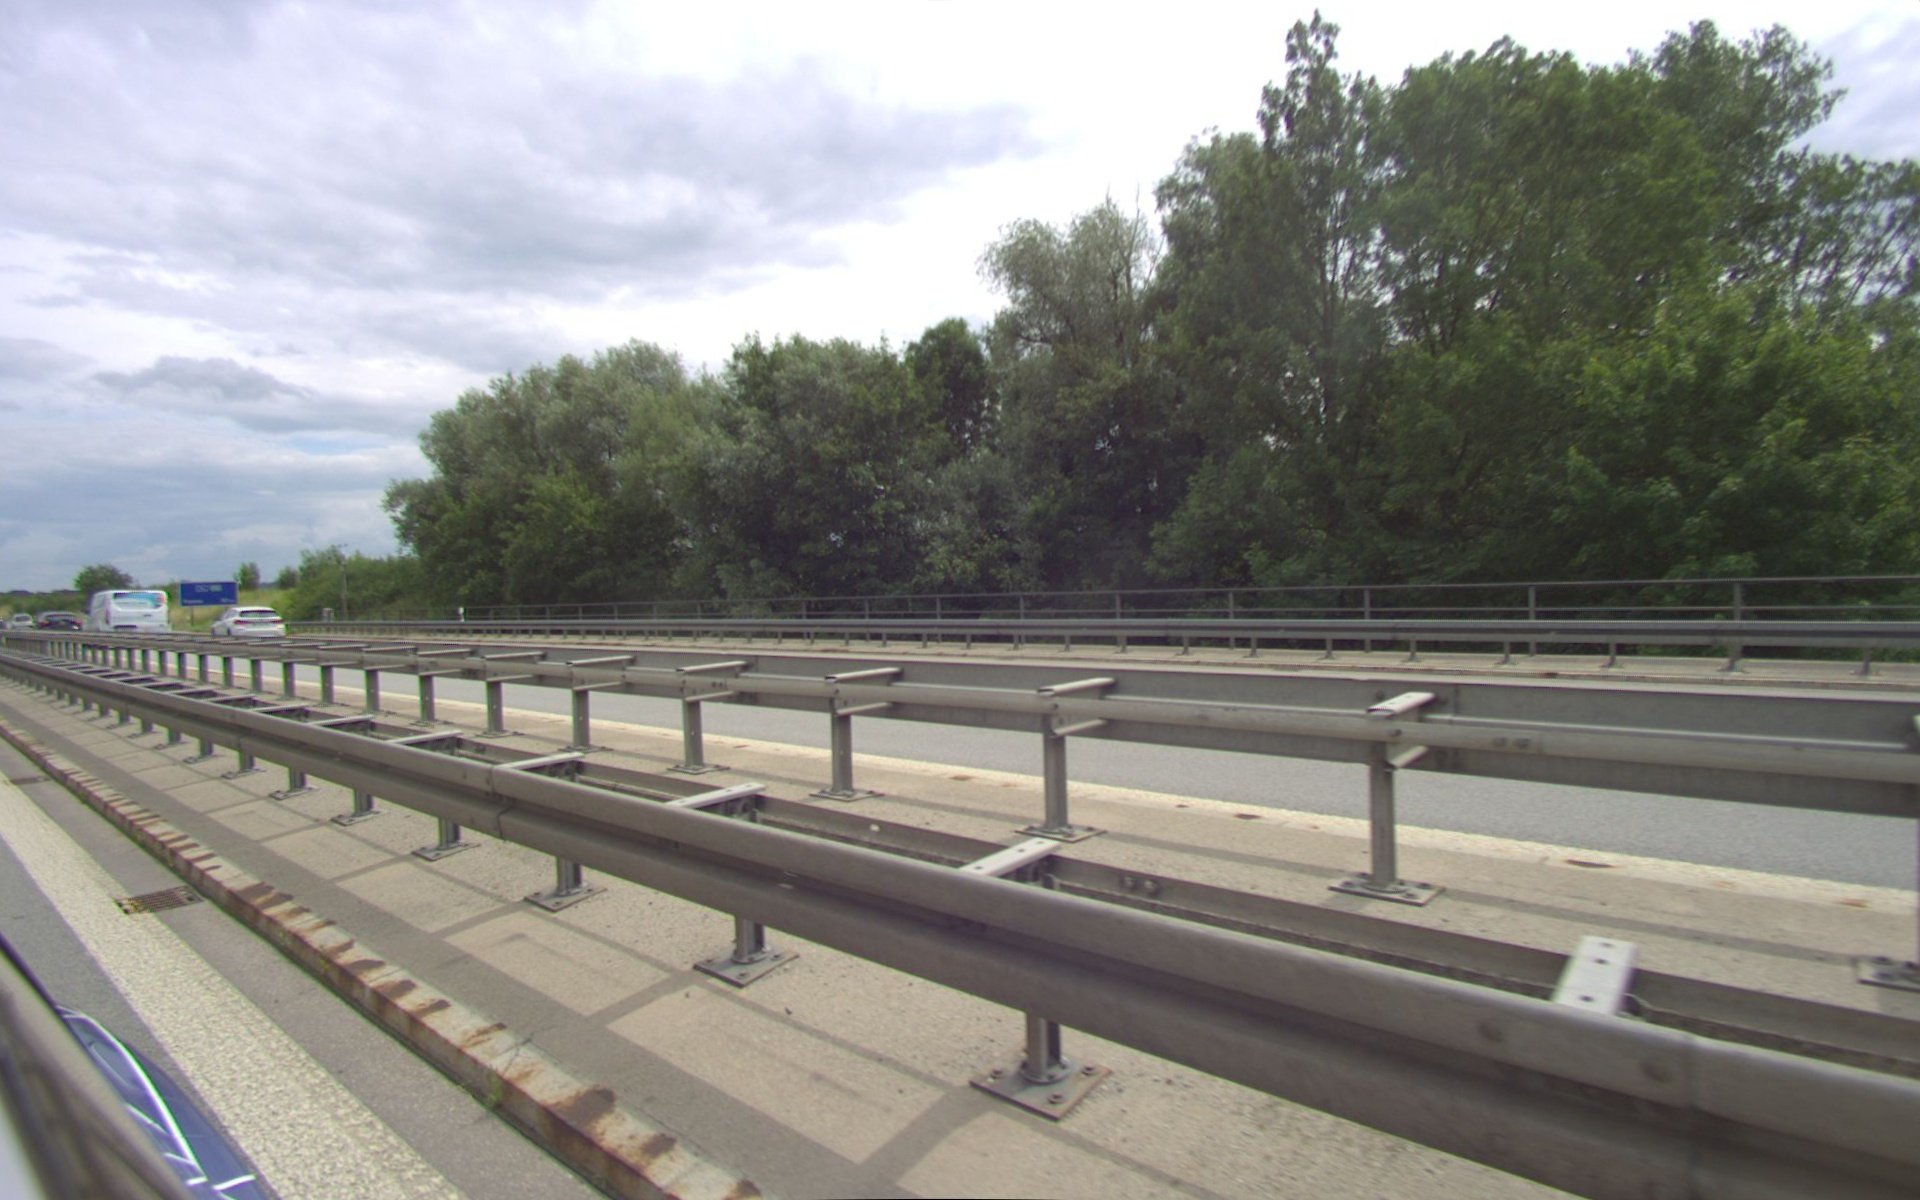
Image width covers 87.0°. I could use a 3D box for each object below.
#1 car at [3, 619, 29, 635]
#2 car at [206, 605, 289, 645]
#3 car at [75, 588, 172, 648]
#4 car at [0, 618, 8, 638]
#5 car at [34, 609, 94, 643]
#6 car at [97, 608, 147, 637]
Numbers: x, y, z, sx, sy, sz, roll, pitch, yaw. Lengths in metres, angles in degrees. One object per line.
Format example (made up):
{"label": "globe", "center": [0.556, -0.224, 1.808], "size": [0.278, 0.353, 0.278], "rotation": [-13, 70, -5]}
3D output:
{"label": "car", "center": [-99.029, 2.866, 106.130], "size": [4.283, 1.503, 1.632], "rotation": [-1, 2, 43]}
{"label": "car", "center": [-27.592, 0.938, 39.154], "size": [3.935, 1.449, 1.826], "rotation": [-1, 0, 42]}
{"label": "car", "center": [-29.443, 0.635, 35.574], "size": [4.711, 1.925, 1.754], "rotation": [-2, 1, 41]}
{"label": "car", "center": [-82.430, 2.435, 86.184], "size": [4.223, 1.663, 1.706], "rotation": [-2, 0, 44]}
{"label": "car", "center": [-47.354, 1.362, 53.425], "size": [4.945, 1.624, 1.826], "rotation": [-1, 1, 42]}
{"label": "car", "center": [-48.299, 1.290, 58.314], "size": [4.332, 1.571, 1.710], "rotation": [-1, 0, 43]}
